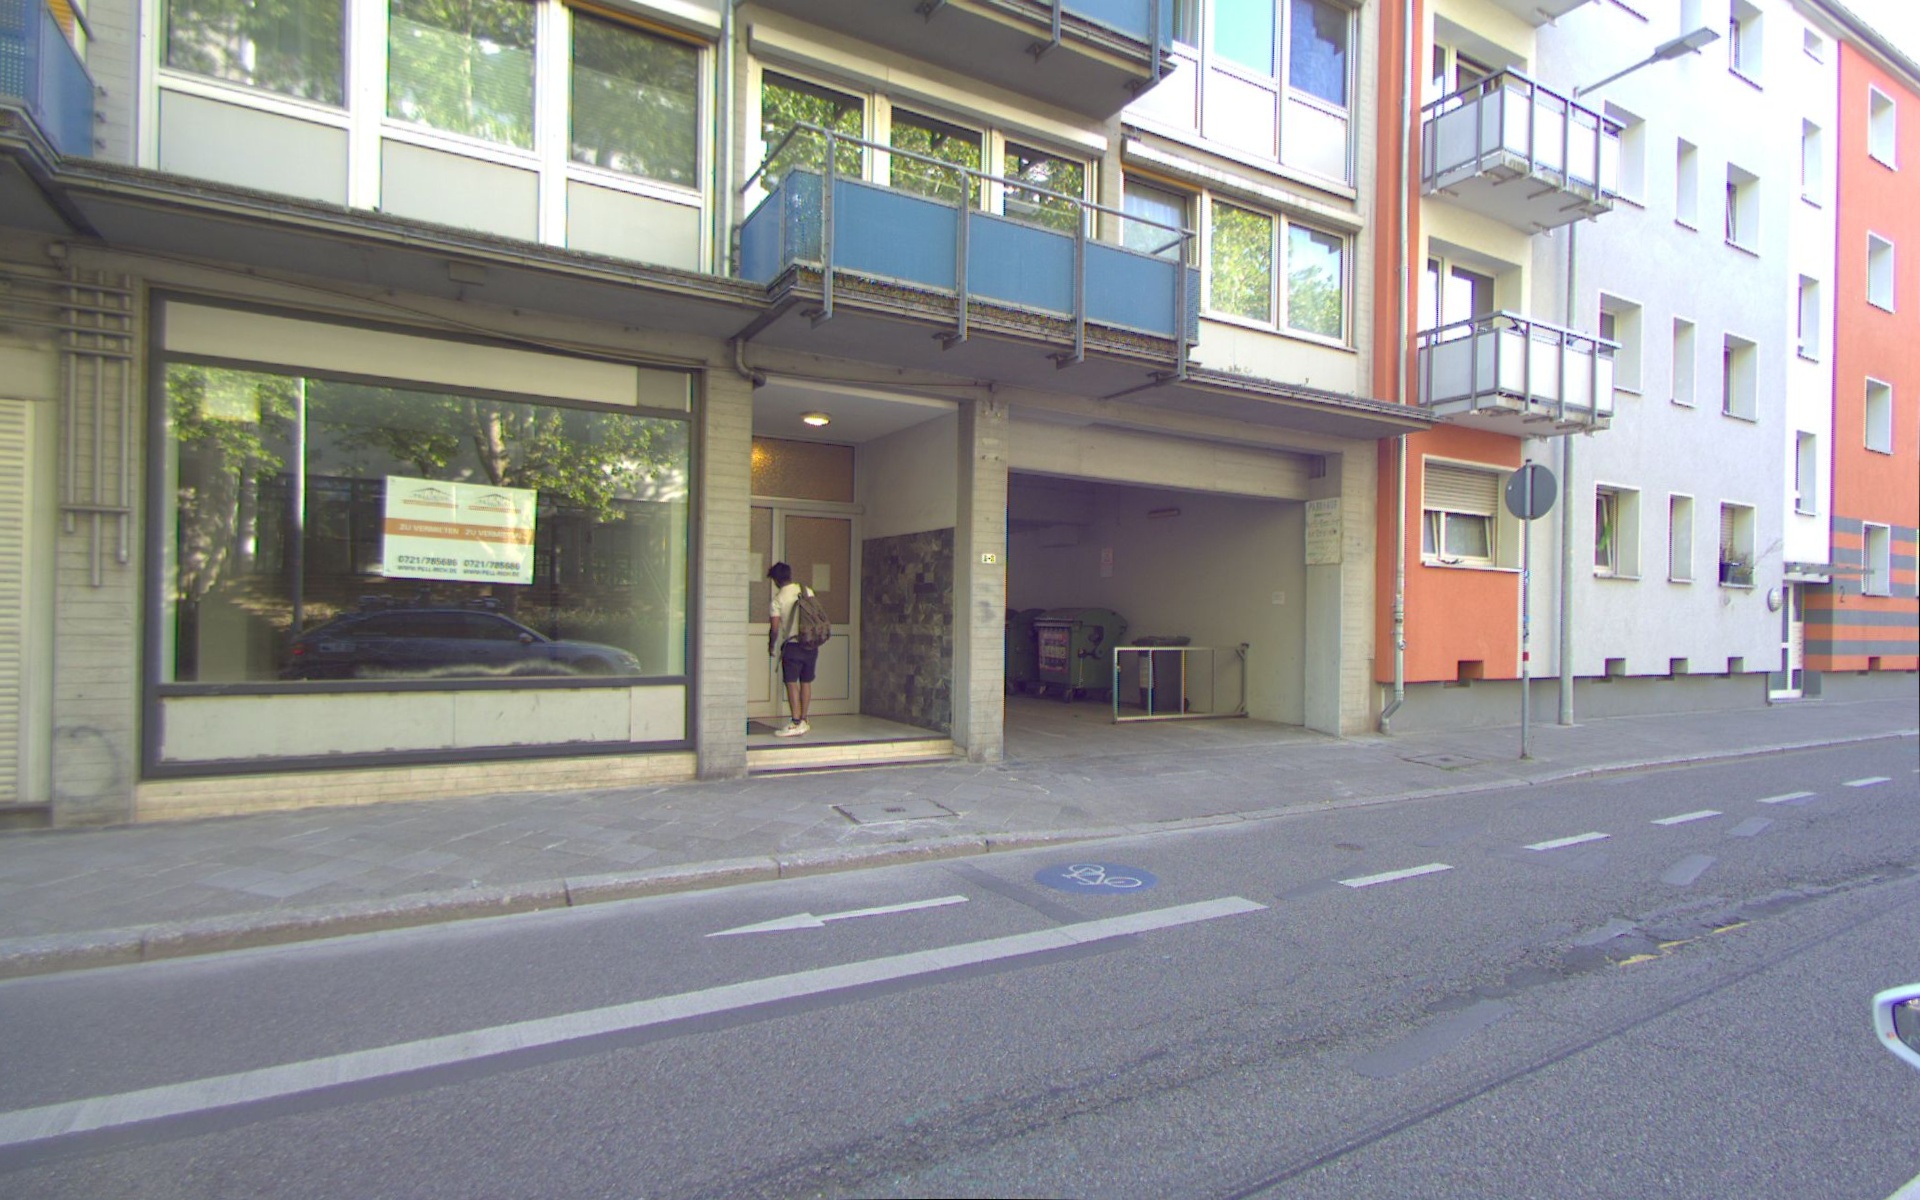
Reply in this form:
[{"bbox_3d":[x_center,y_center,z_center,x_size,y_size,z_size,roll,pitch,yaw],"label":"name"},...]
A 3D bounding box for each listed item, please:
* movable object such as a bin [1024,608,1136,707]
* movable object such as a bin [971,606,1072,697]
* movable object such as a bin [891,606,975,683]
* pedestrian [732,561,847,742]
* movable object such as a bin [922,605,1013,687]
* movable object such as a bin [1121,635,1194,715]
[{"bbox_3d":[1.876,0.873,15.808,1.182,1.452,1.300,2,0,-30],"label":"movable object such as a bin"},{"bbox_3d":[1.036,0.855,17.195,1.182,1.452,1.300,2,0,-30],"label":"movable object such as a bin"},{"bbox_3d":[-0.545,0.867,19.933,1.182,1.452,1.300,2,0,-30],"label":"movable object such as a bin"},{"bbox_3d":[-1.594,0.468,9.378,0.914,1.606,0.561,1,0,-29],"label":"pedestrian"},{"bbox_3d":[0.123,0.836,18.769,1.182,1.452,1.300,2,0,-30],"label":"movable object such as a bin"},{"bbox_3d":[2.854,1.067,14.525,0.707,1.089,0.735,2,0,-30],"label":"movable object such as a bin"}]
